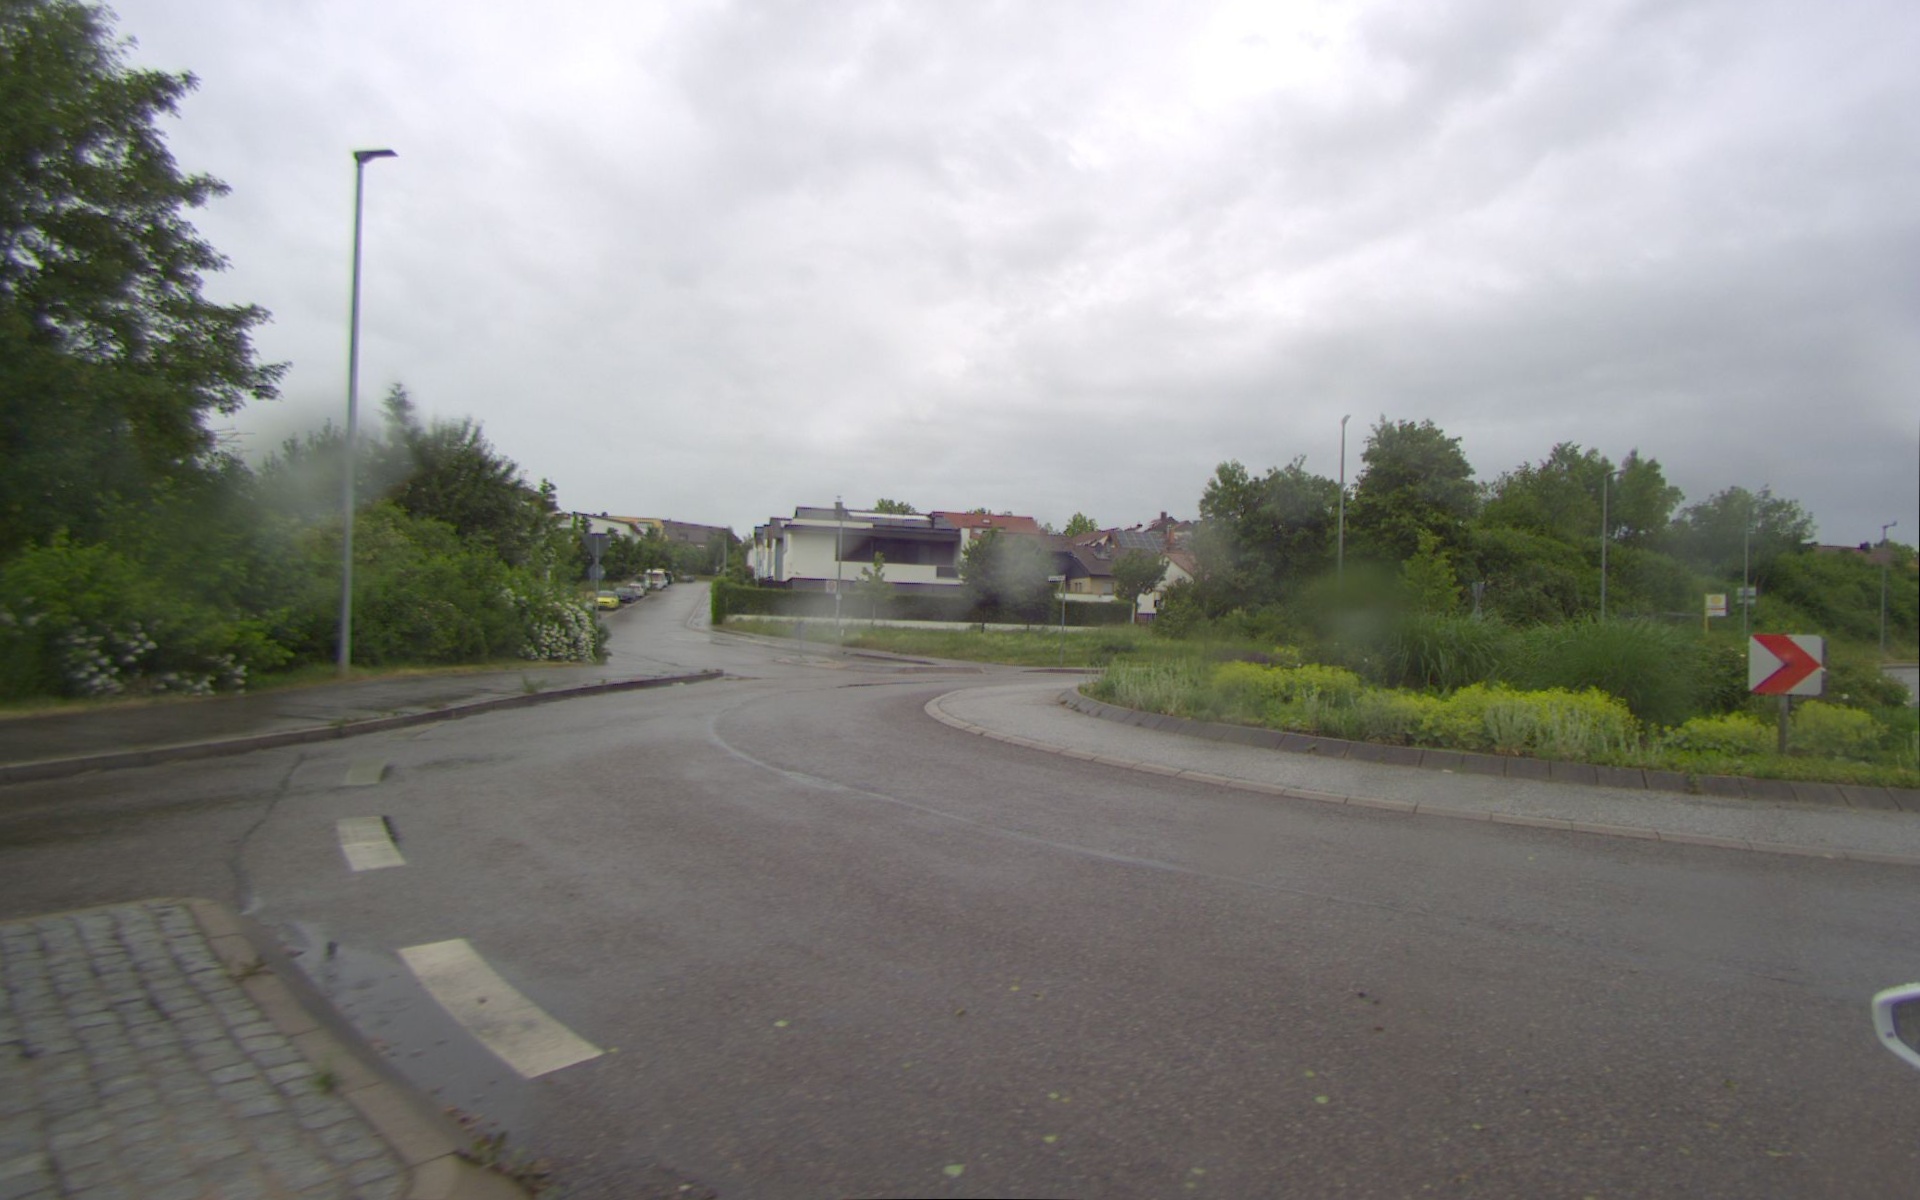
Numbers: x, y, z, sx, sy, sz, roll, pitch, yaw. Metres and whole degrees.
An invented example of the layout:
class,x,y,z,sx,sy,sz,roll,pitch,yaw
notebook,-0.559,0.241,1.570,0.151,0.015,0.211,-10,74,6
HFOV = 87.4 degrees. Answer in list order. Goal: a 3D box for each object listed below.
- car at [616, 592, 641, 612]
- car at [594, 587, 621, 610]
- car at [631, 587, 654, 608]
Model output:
class,x,y,z,sx,sy,sz,roll,pitch,yaw
car,-30.848,0.188,93.618,1.845,1.757,3.988,3,-1,-15
car,-28.211,-0.122,80.484,1.657,1.679,3.566,3,-1,-14
car,-33.087,-0.235,104.719,1.966,2.040,3.989,3,-1,-14
